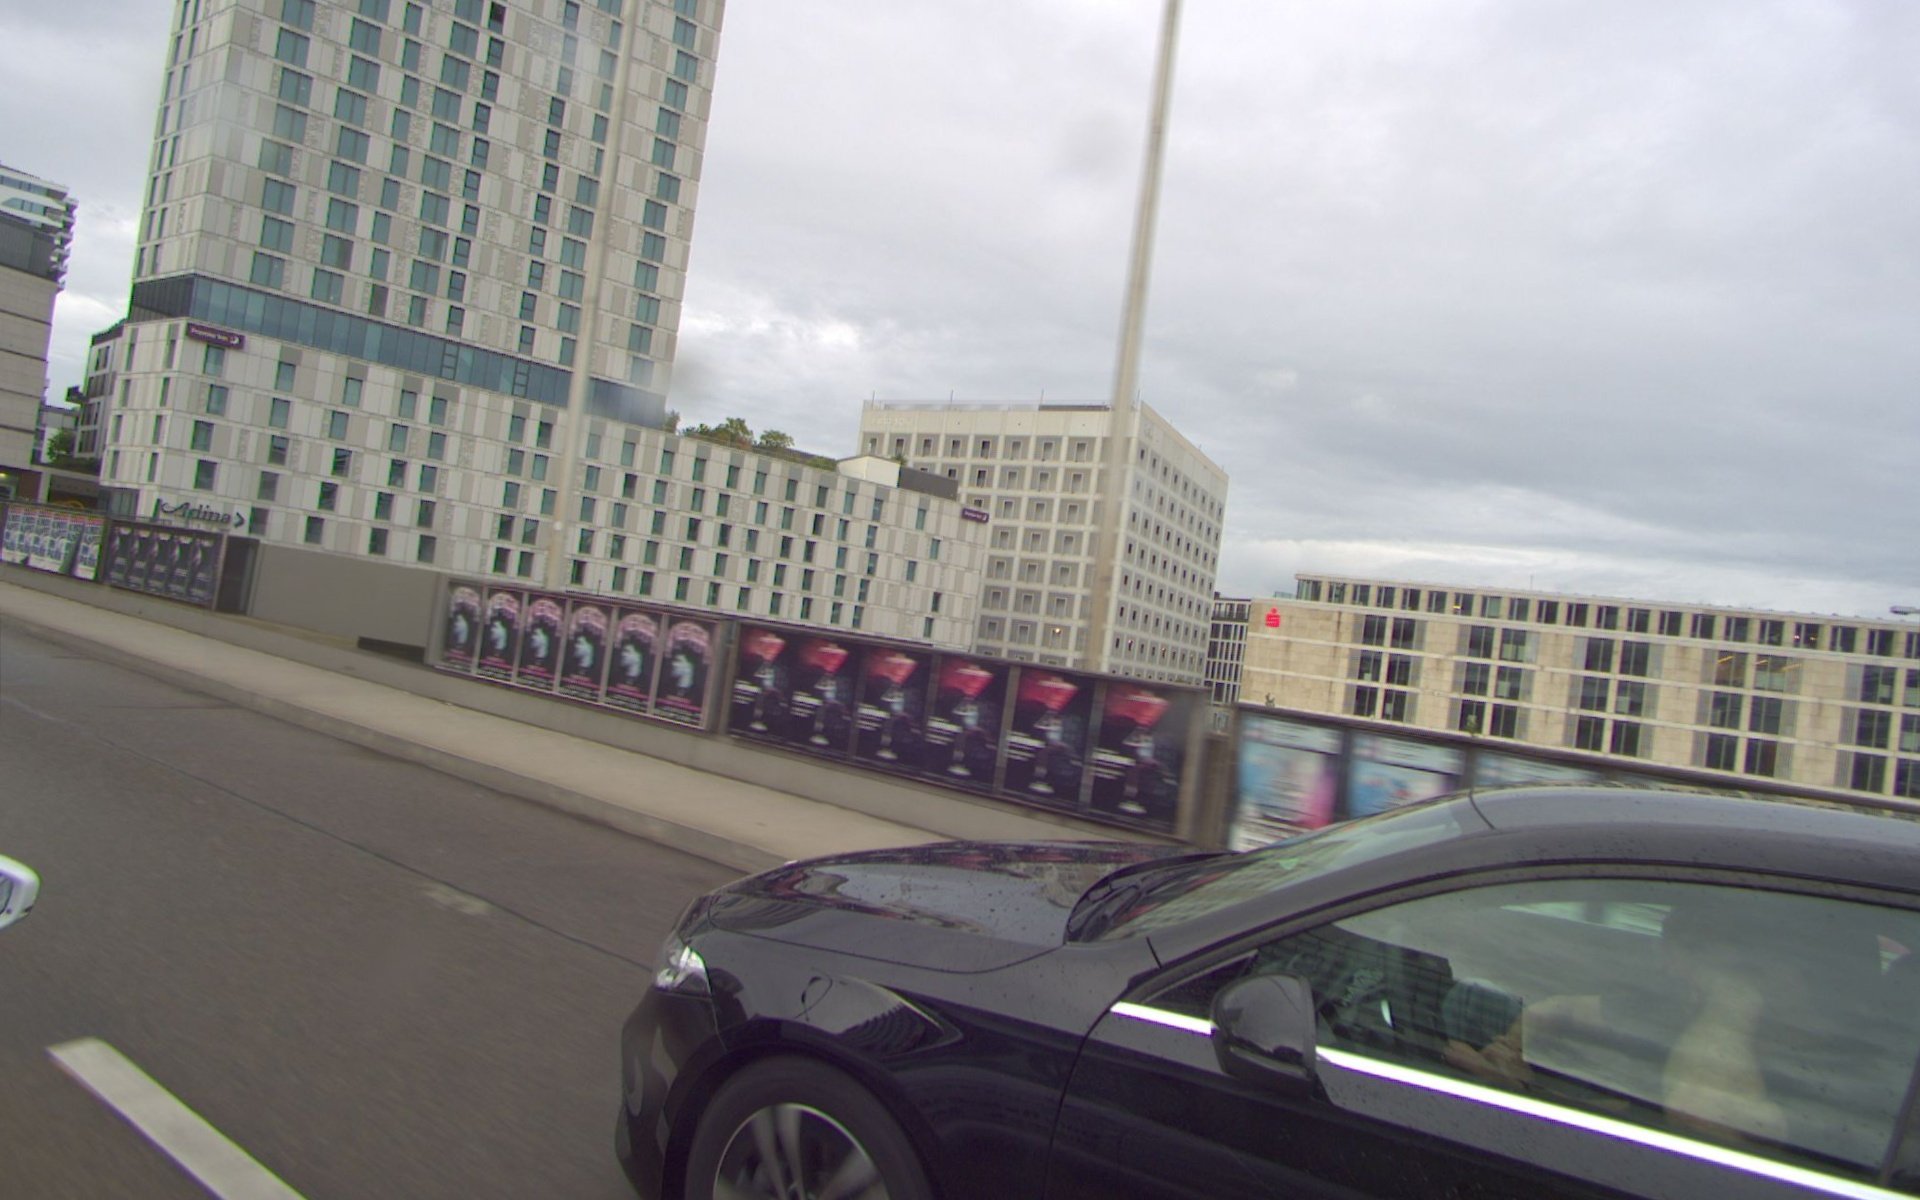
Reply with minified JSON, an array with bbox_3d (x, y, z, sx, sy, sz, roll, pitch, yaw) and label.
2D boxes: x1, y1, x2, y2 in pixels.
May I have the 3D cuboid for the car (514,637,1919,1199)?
[{"bbox_3d":[1.230,1.030,1.973,4.086,1.392,1.727,6,-2,31],"label":"car"}]
